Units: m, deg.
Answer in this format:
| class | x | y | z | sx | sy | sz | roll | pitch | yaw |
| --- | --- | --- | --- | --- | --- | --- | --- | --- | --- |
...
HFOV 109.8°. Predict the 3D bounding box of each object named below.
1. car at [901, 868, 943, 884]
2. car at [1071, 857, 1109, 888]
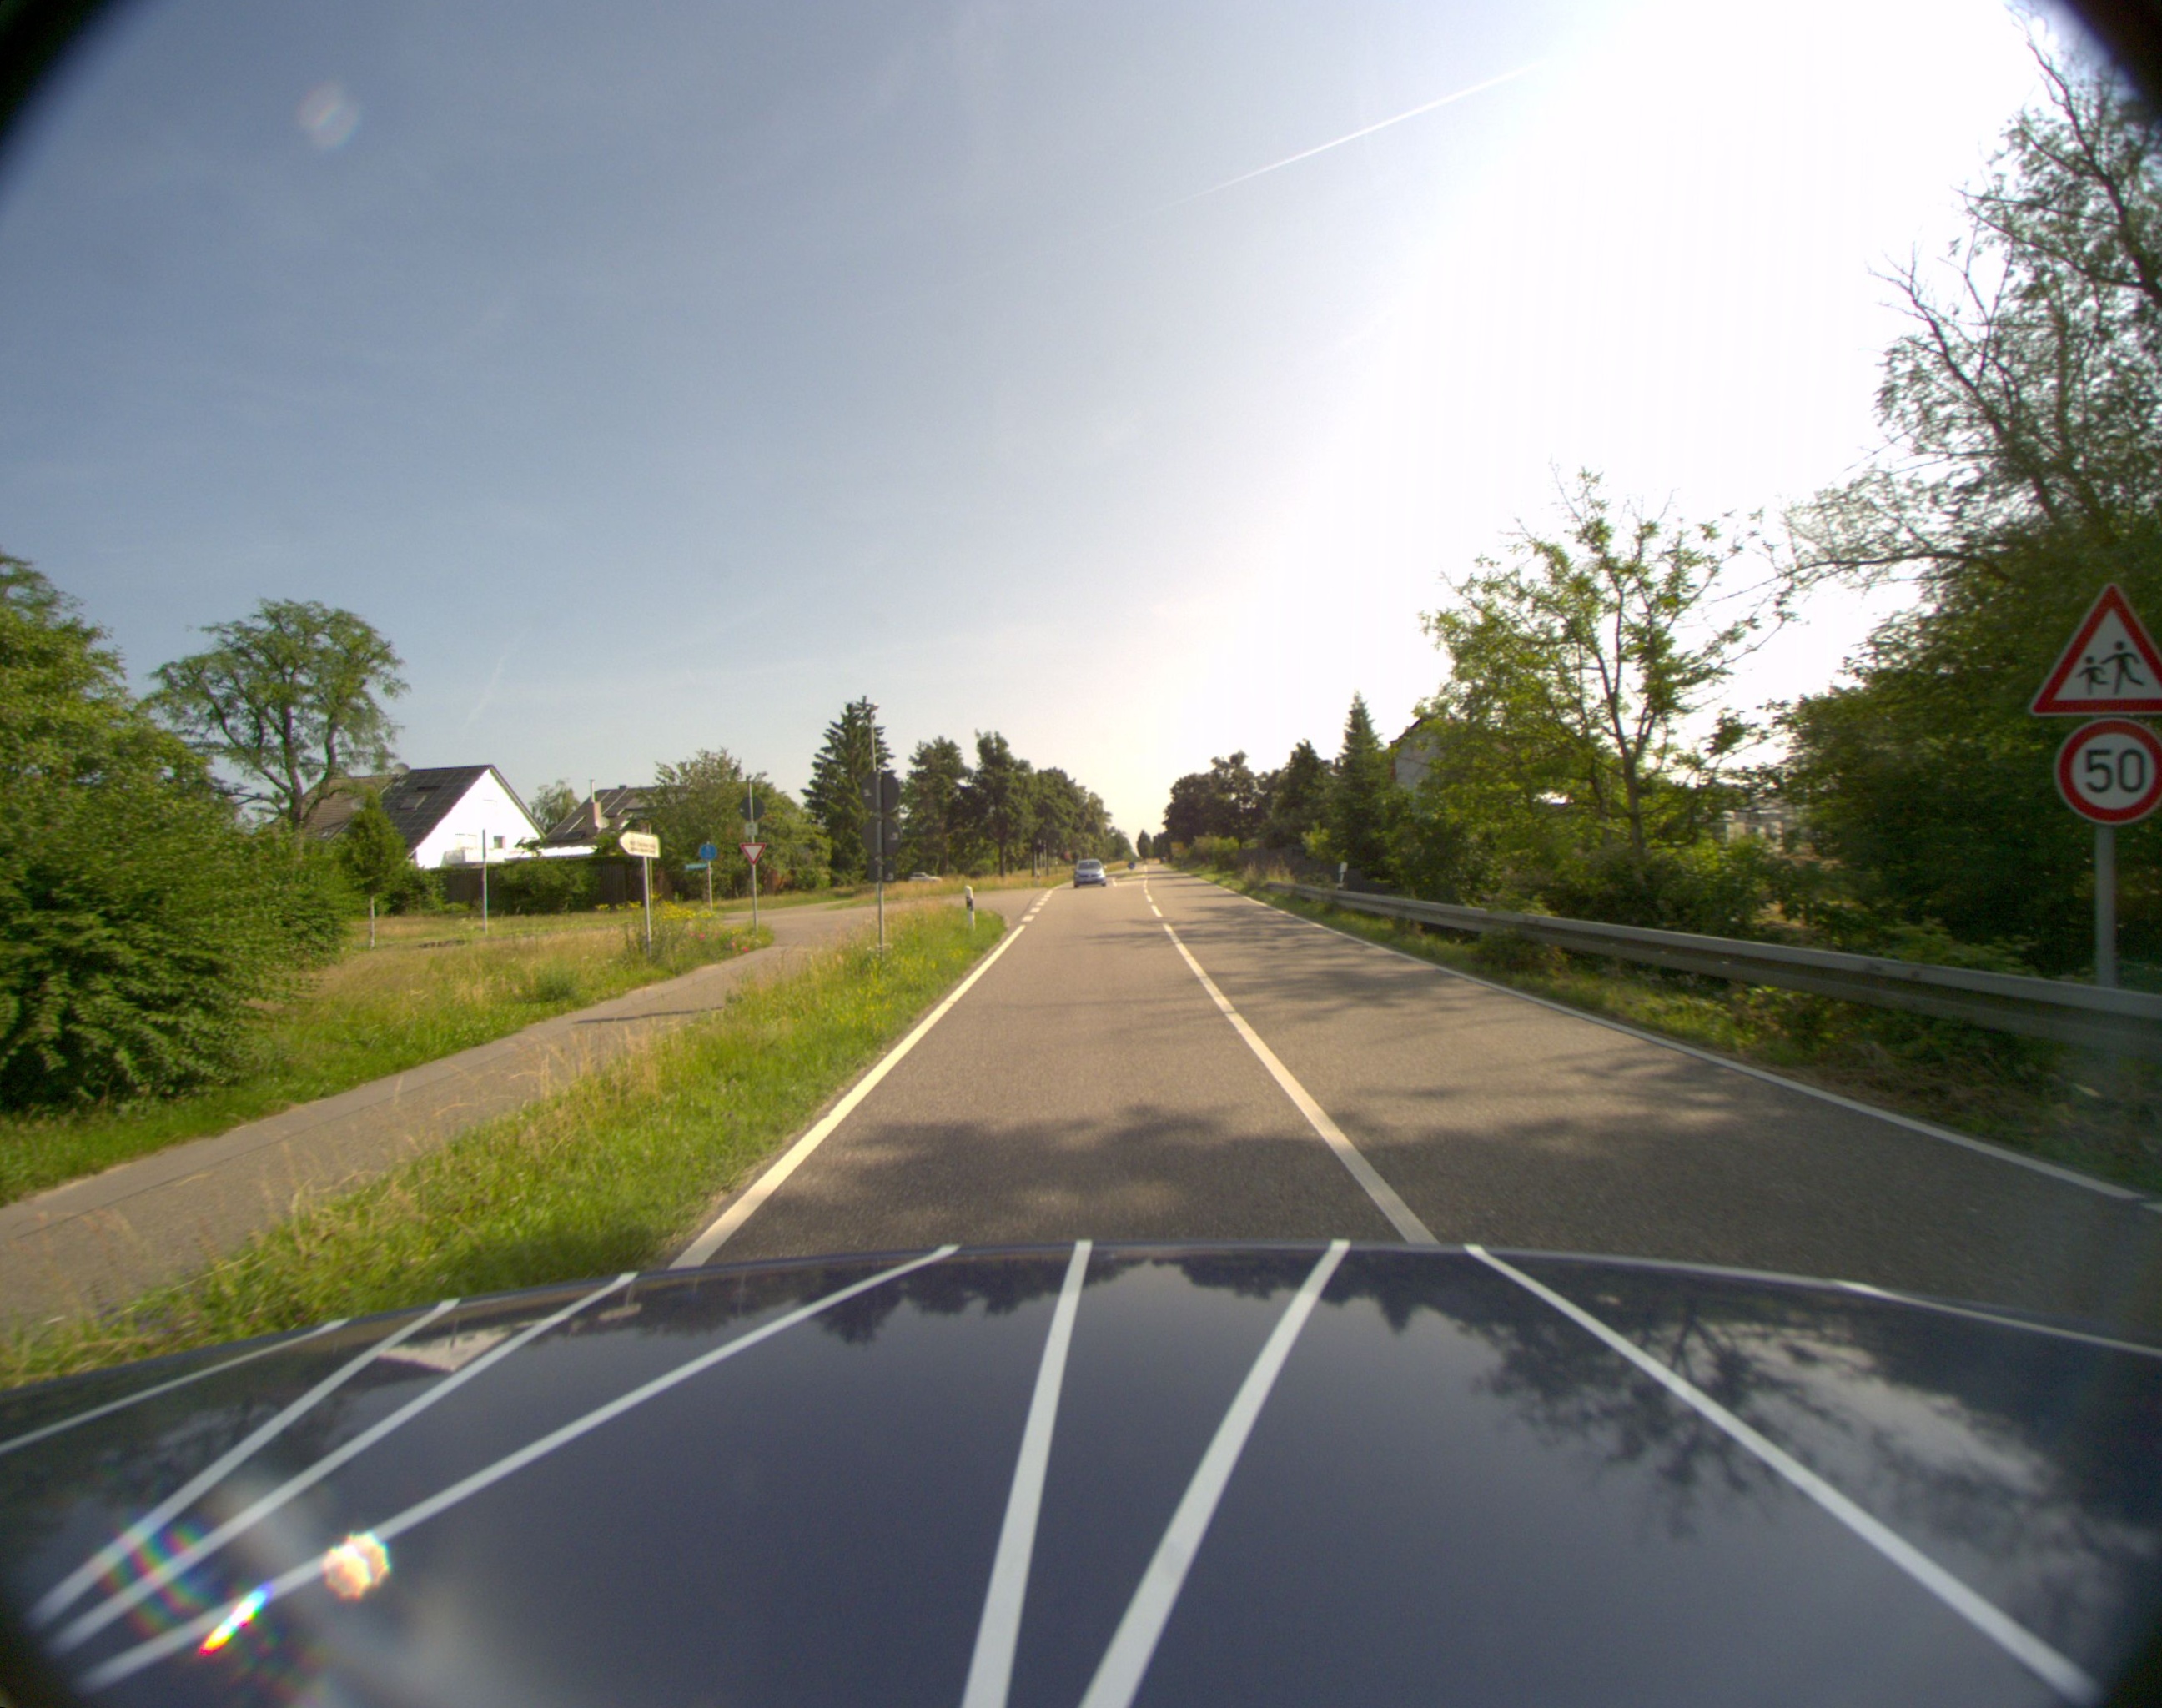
| class | x | y | z | sx | sy | sz | roll | pitch | yaw |
| --- | --- | --- | --- | --- | --- | --- | --- | --- | --- |
| car | -16.705 | 2.292 | 79.921 | 3.997 | 1.425 | 1.815 | -3 | 0 | 0 |
| car | 0.560 | 1.022 | 43.003 | 1.808 | 1.592 | 4.271 | -3 | -1 | 4 |
